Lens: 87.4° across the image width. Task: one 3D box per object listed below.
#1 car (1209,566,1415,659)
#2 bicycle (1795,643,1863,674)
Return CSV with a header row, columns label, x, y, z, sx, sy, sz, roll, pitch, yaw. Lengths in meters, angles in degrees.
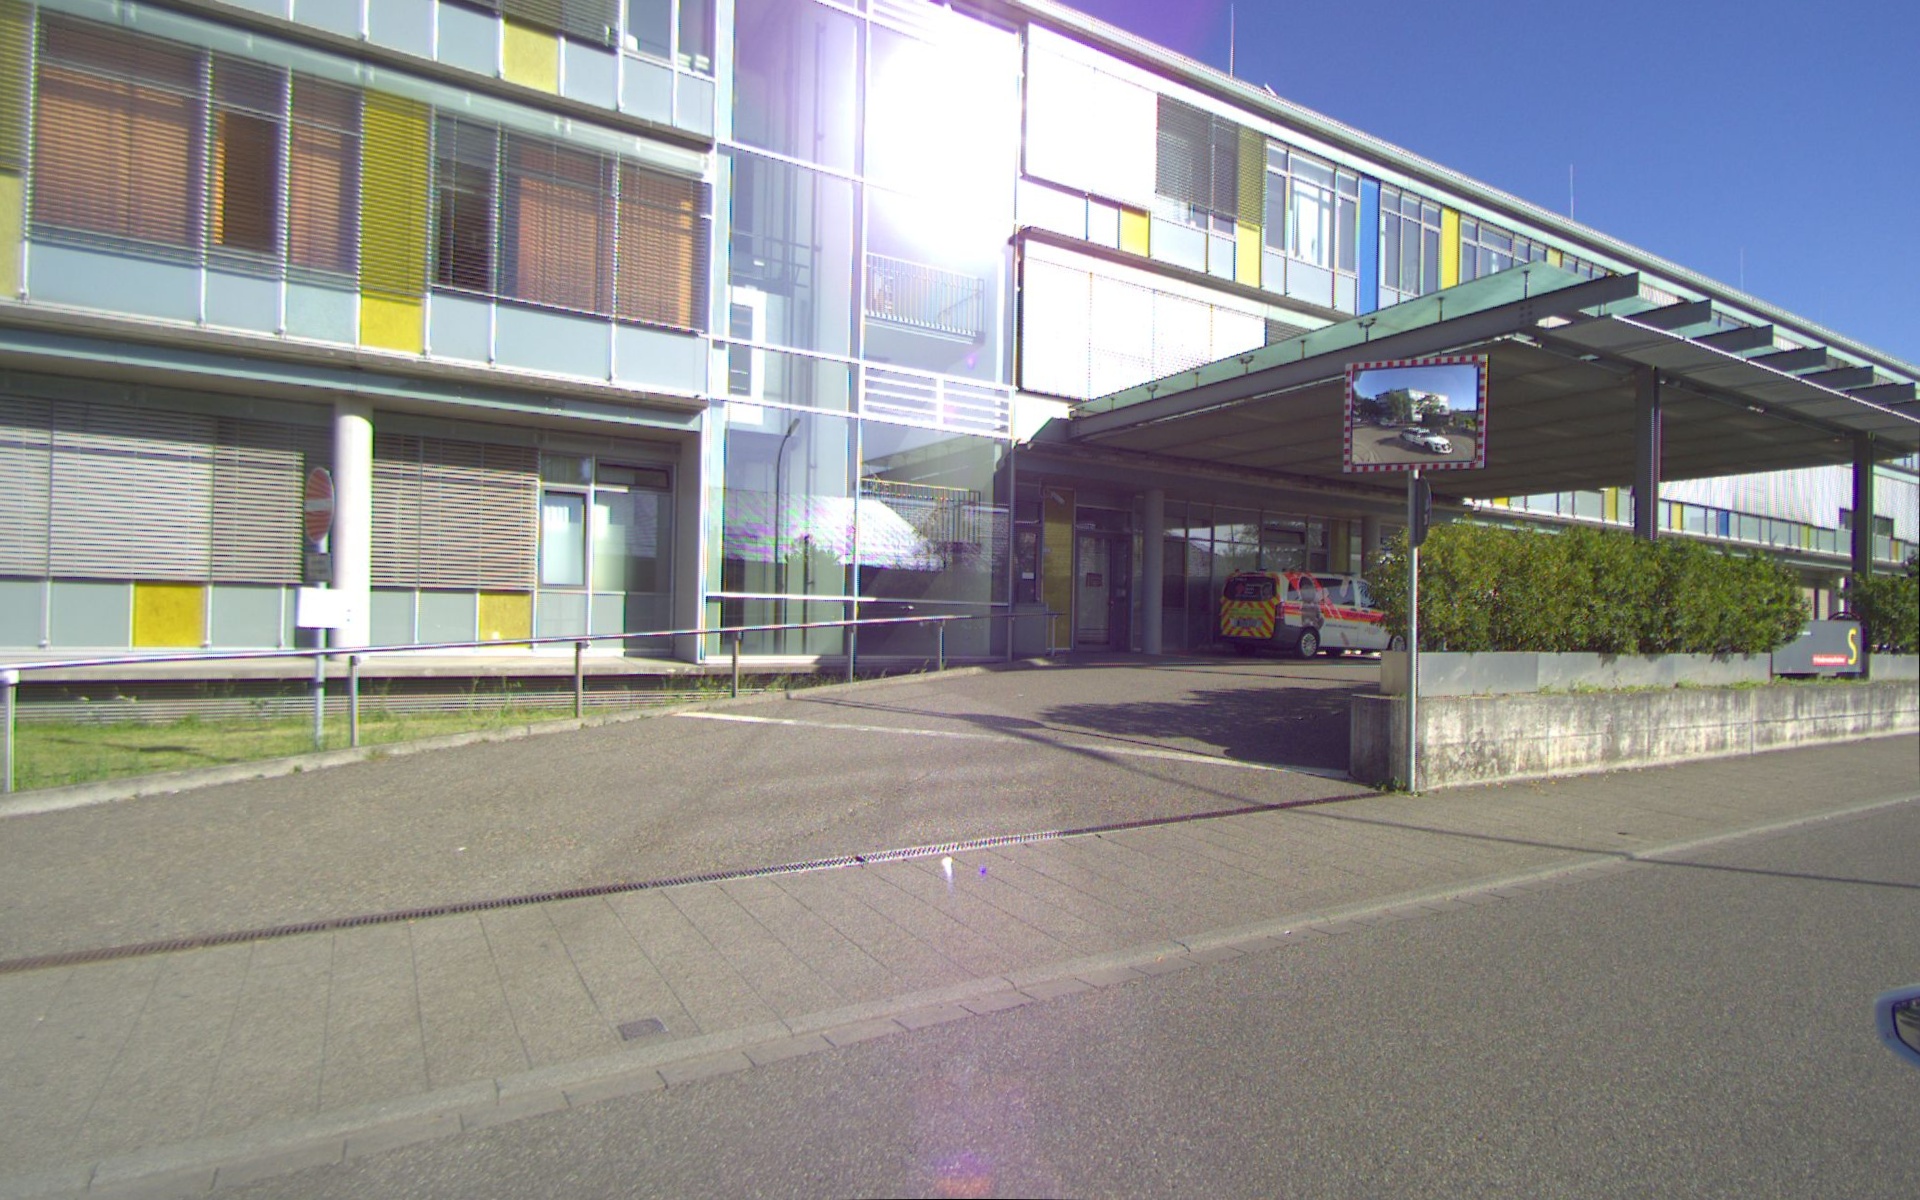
label,x,y,z,sx,sy,sz,roll,pitch,yaw
car,7.979,0.321,22.652,4.658,1.916,1.909,2,-1,-32
bicycle,30.073,2.014,34.782,0.530,1.007,1.706,1,-1,-31
